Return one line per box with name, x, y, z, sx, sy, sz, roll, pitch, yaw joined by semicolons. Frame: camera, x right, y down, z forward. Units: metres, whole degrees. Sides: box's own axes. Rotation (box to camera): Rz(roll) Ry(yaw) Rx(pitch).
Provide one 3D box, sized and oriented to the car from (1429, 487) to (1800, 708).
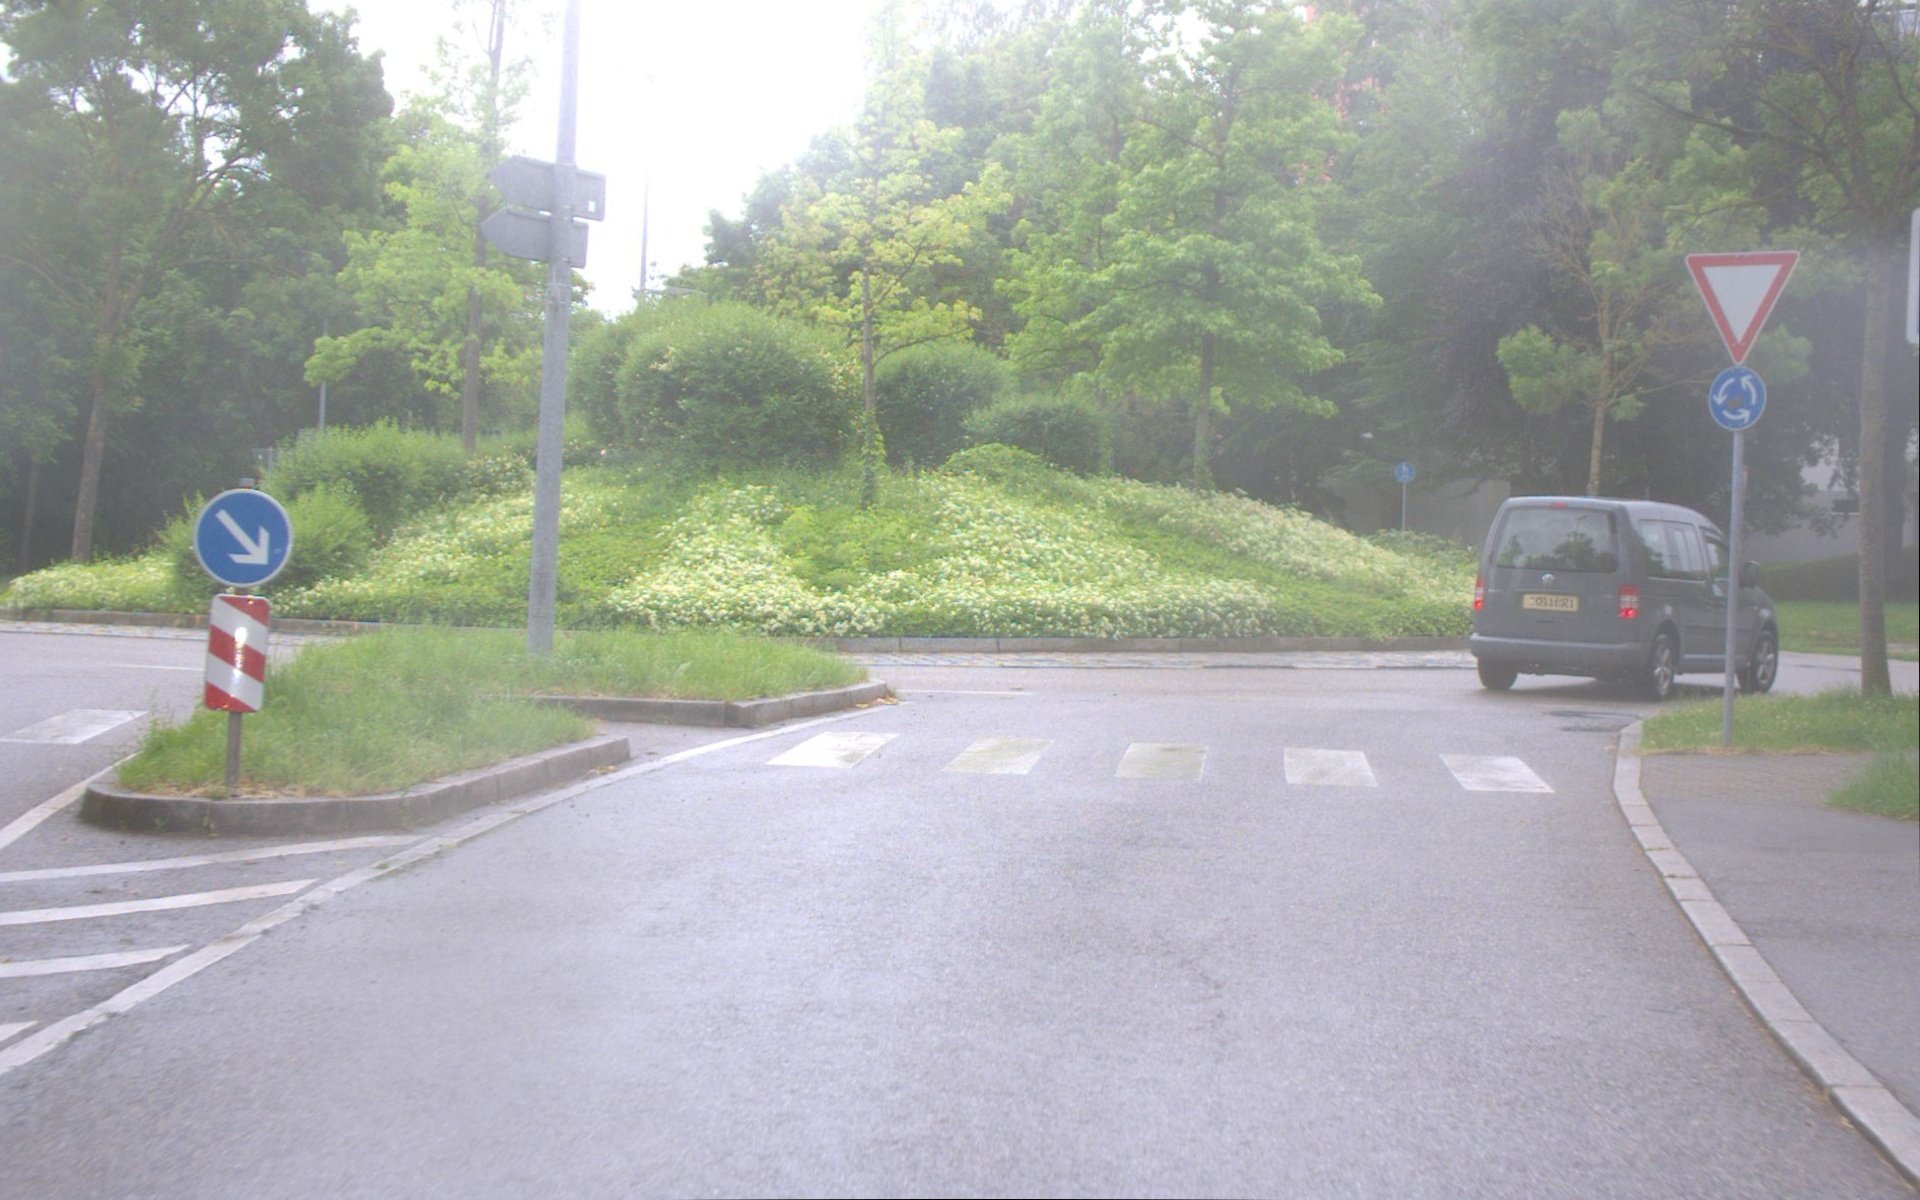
car;6.212;-0.091;32.380;1.923;1.795;3.782;4;5;36
